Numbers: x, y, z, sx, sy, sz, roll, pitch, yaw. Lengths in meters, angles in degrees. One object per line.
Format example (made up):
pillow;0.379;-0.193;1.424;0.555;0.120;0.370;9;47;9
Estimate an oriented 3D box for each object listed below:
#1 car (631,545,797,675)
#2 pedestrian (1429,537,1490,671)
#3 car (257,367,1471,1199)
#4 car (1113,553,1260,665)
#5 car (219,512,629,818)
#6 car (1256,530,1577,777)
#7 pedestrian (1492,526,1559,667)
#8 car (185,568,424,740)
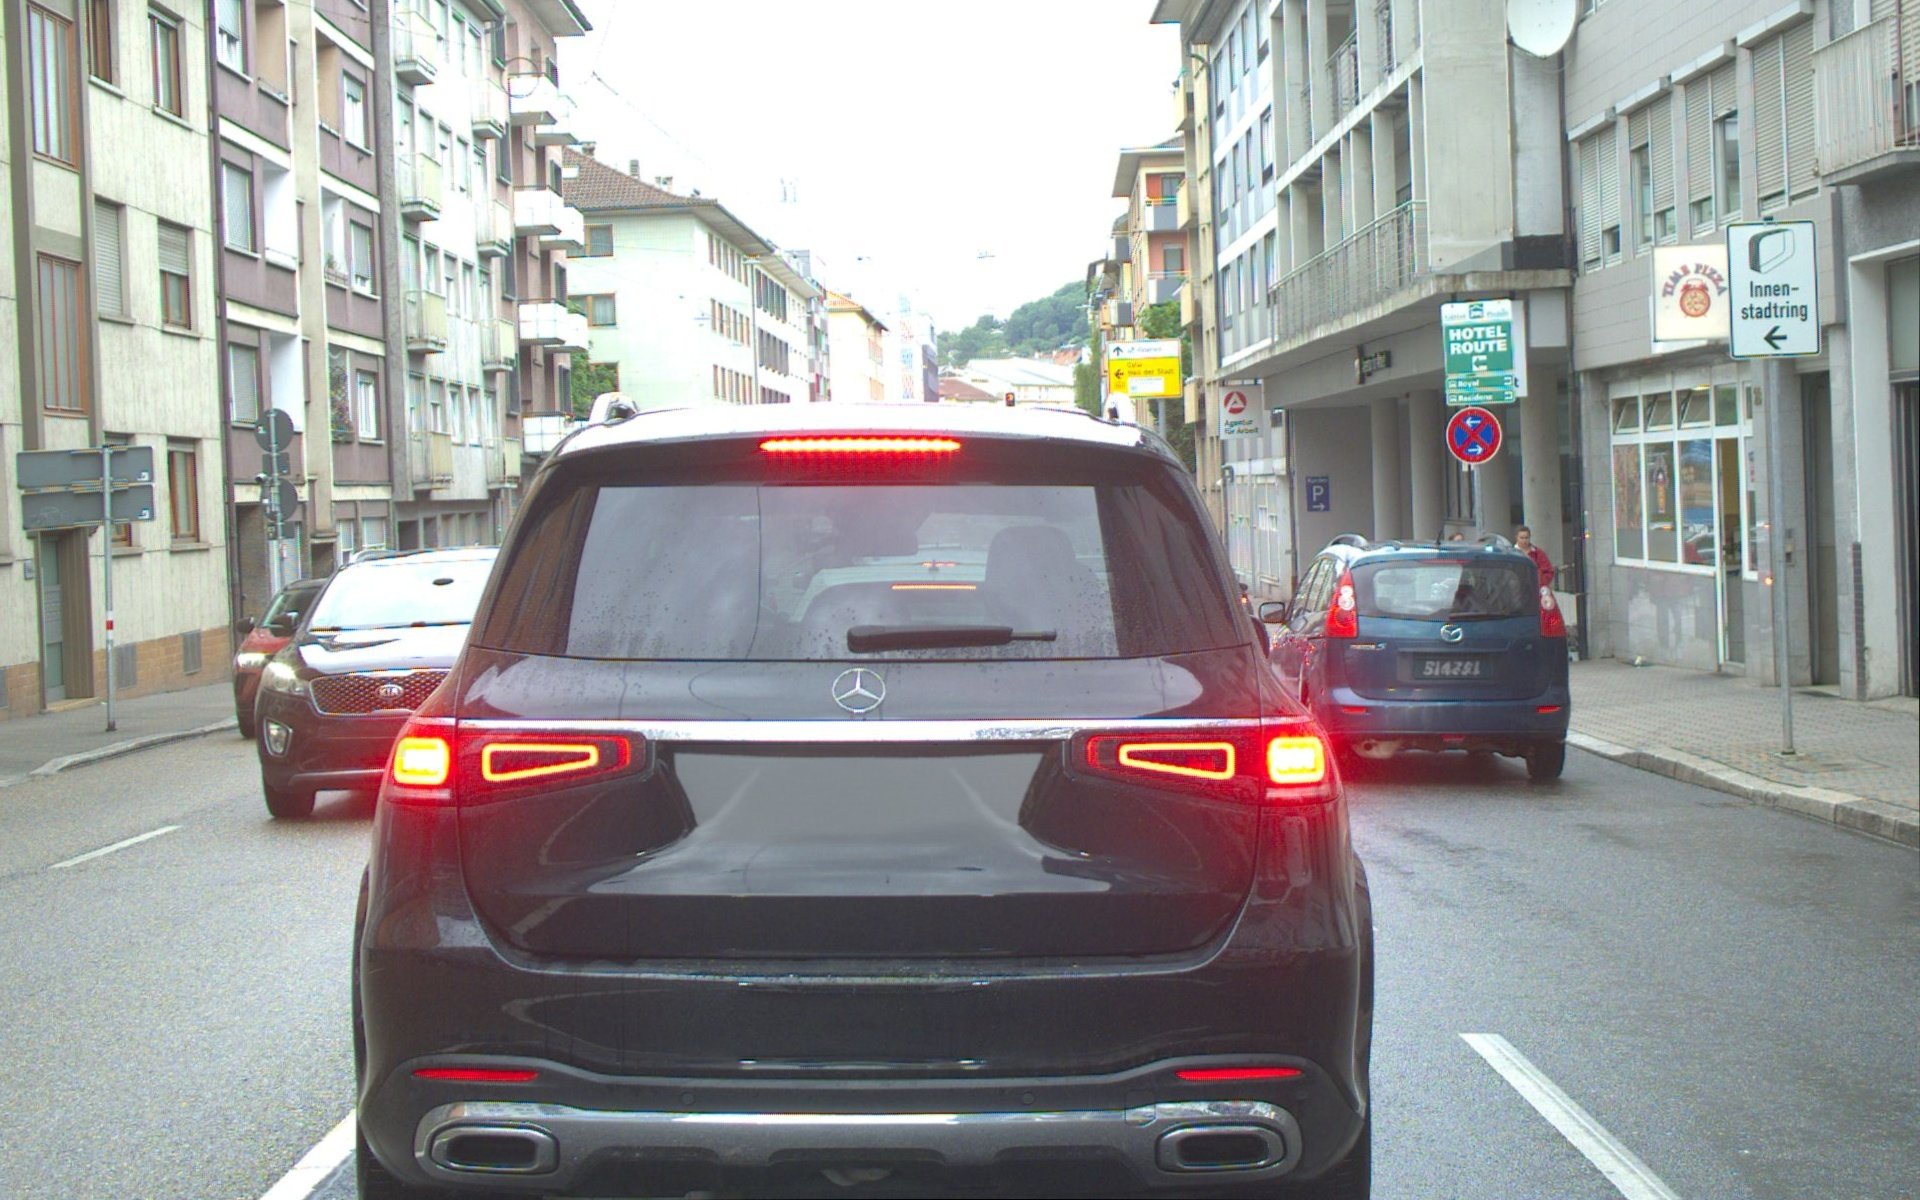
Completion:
car;-3.615;0.108;51.362;2.126;1.715;4.818;-4;1;-1
pedestrian;5.723;0.042;39.403;0.506;1.495;0.562;-4;1;-1
car;-0.204;0.488;7.800;2.025;1.799;4.000;1;1;-1
car;3.073;0.089;47.330;1.621;1.425;4.312;1;1;-1
car;-3.441;0.347;22.921;1.836;1.721;4.474;-4;1;1
car;3.139;0.313;24.402;1.808;1.600;4.212;0;1;1
pedestrian;6.486;-0.047;39.426;0.560;1.573;0.526;-4;1;-1
car;-6.874;0.518;36.475;1.797;1.579;4.316;-4;1;-2
